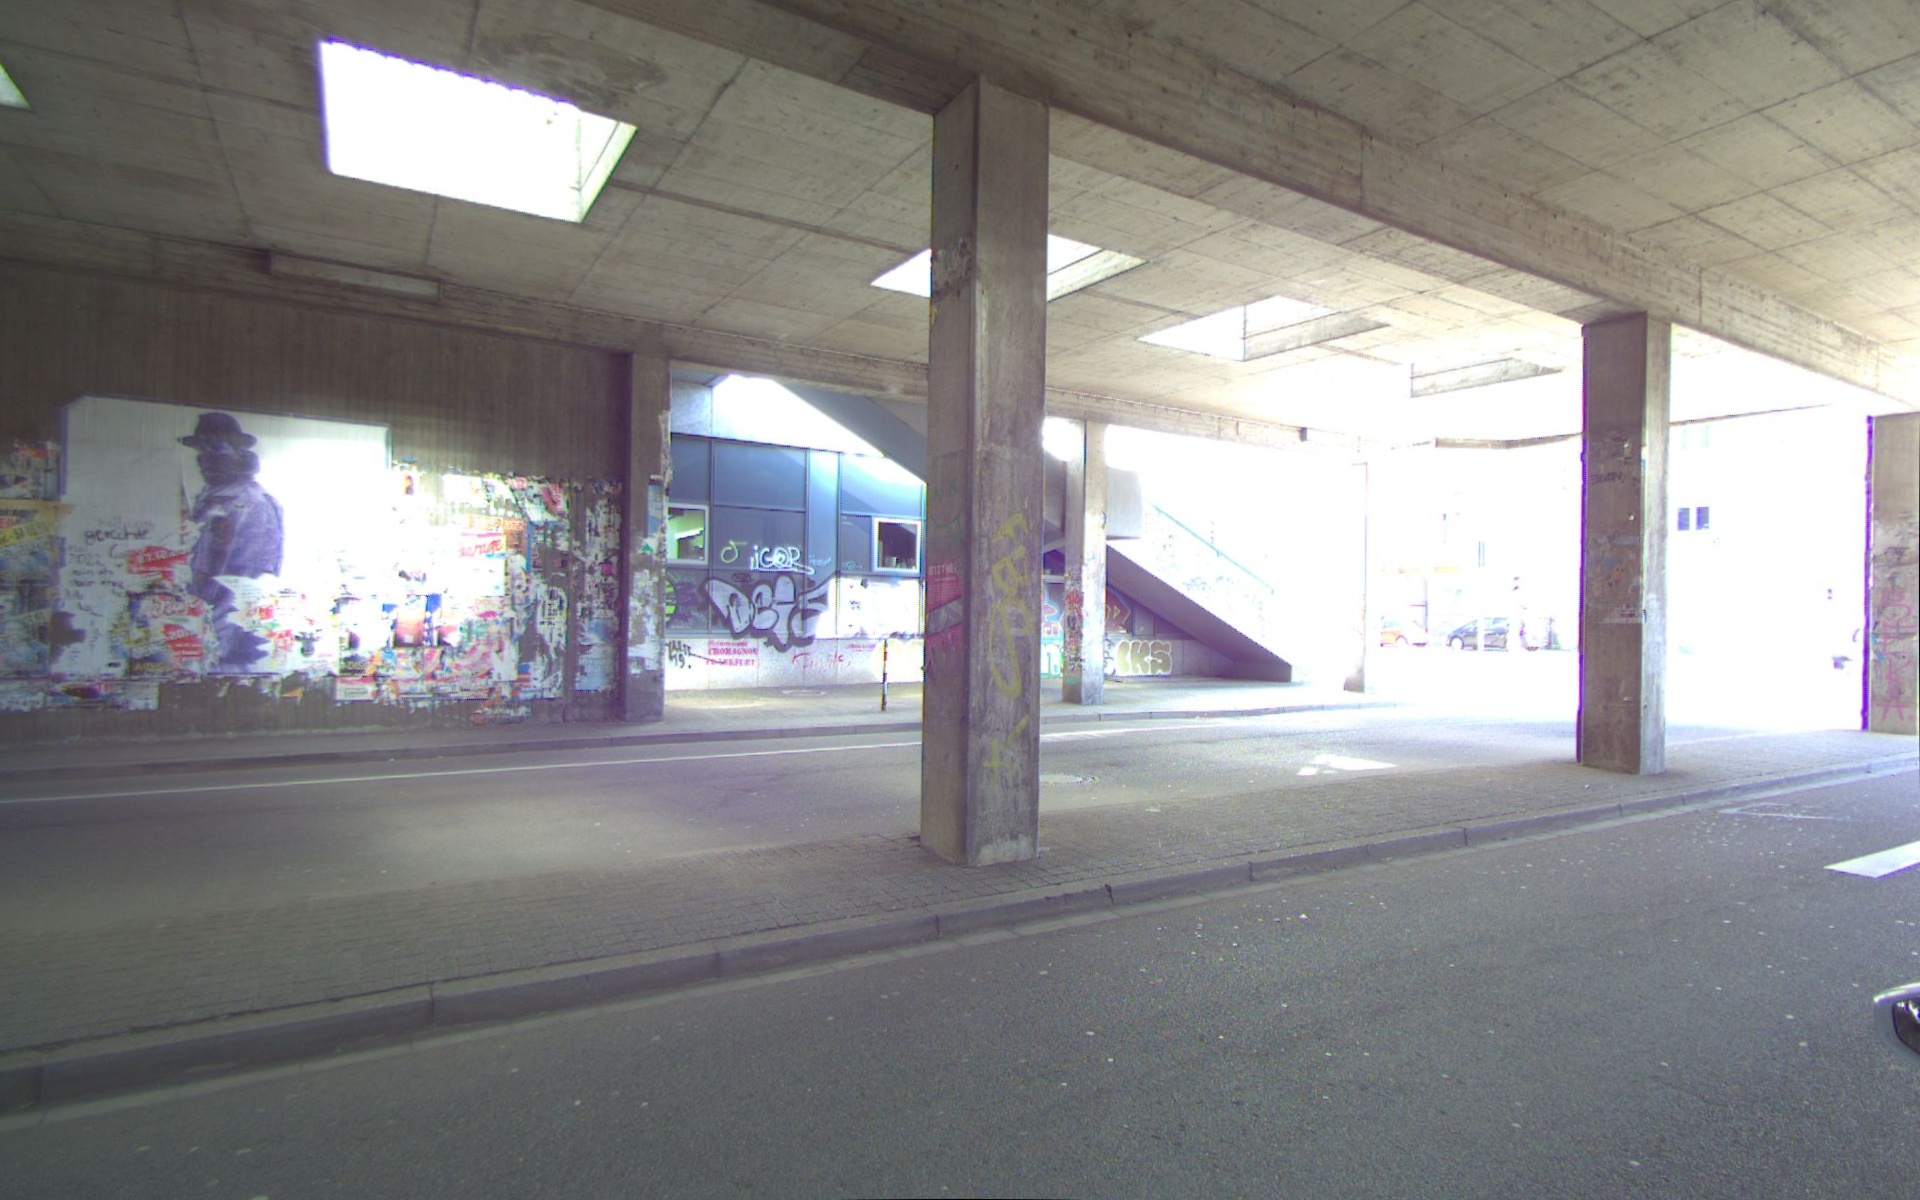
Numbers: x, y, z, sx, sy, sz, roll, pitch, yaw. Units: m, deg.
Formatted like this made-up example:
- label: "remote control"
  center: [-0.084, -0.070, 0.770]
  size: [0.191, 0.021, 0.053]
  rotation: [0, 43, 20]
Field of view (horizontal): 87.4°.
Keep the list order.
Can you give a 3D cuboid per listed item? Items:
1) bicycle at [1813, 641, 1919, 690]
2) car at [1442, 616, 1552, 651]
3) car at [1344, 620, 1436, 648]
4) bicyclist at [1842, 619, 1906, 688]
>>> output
- label: "bicycle"
  center: [20.216, 1.425, 22.283]
  size: [0.737, 1.022, 1.845]
  rotation: [1, -2, -31]
- label: "car"
  center: [25.417, 1.562, 47.665]
  size: [2.240, 1.571, 4.111]
  rotation: [1, -1, -29]
- label: "car"
  center: [22.496, 1.748, 52.676]
  size: [2.163, 1.392, 3.971]
  rotation: [1, -1, -28]
- label: "bicyclist"
  center: [20.246, 1.172, 22.258]
  size: [0.737, 1.471, 0.865]
  rotation: [1, -2, -32]
